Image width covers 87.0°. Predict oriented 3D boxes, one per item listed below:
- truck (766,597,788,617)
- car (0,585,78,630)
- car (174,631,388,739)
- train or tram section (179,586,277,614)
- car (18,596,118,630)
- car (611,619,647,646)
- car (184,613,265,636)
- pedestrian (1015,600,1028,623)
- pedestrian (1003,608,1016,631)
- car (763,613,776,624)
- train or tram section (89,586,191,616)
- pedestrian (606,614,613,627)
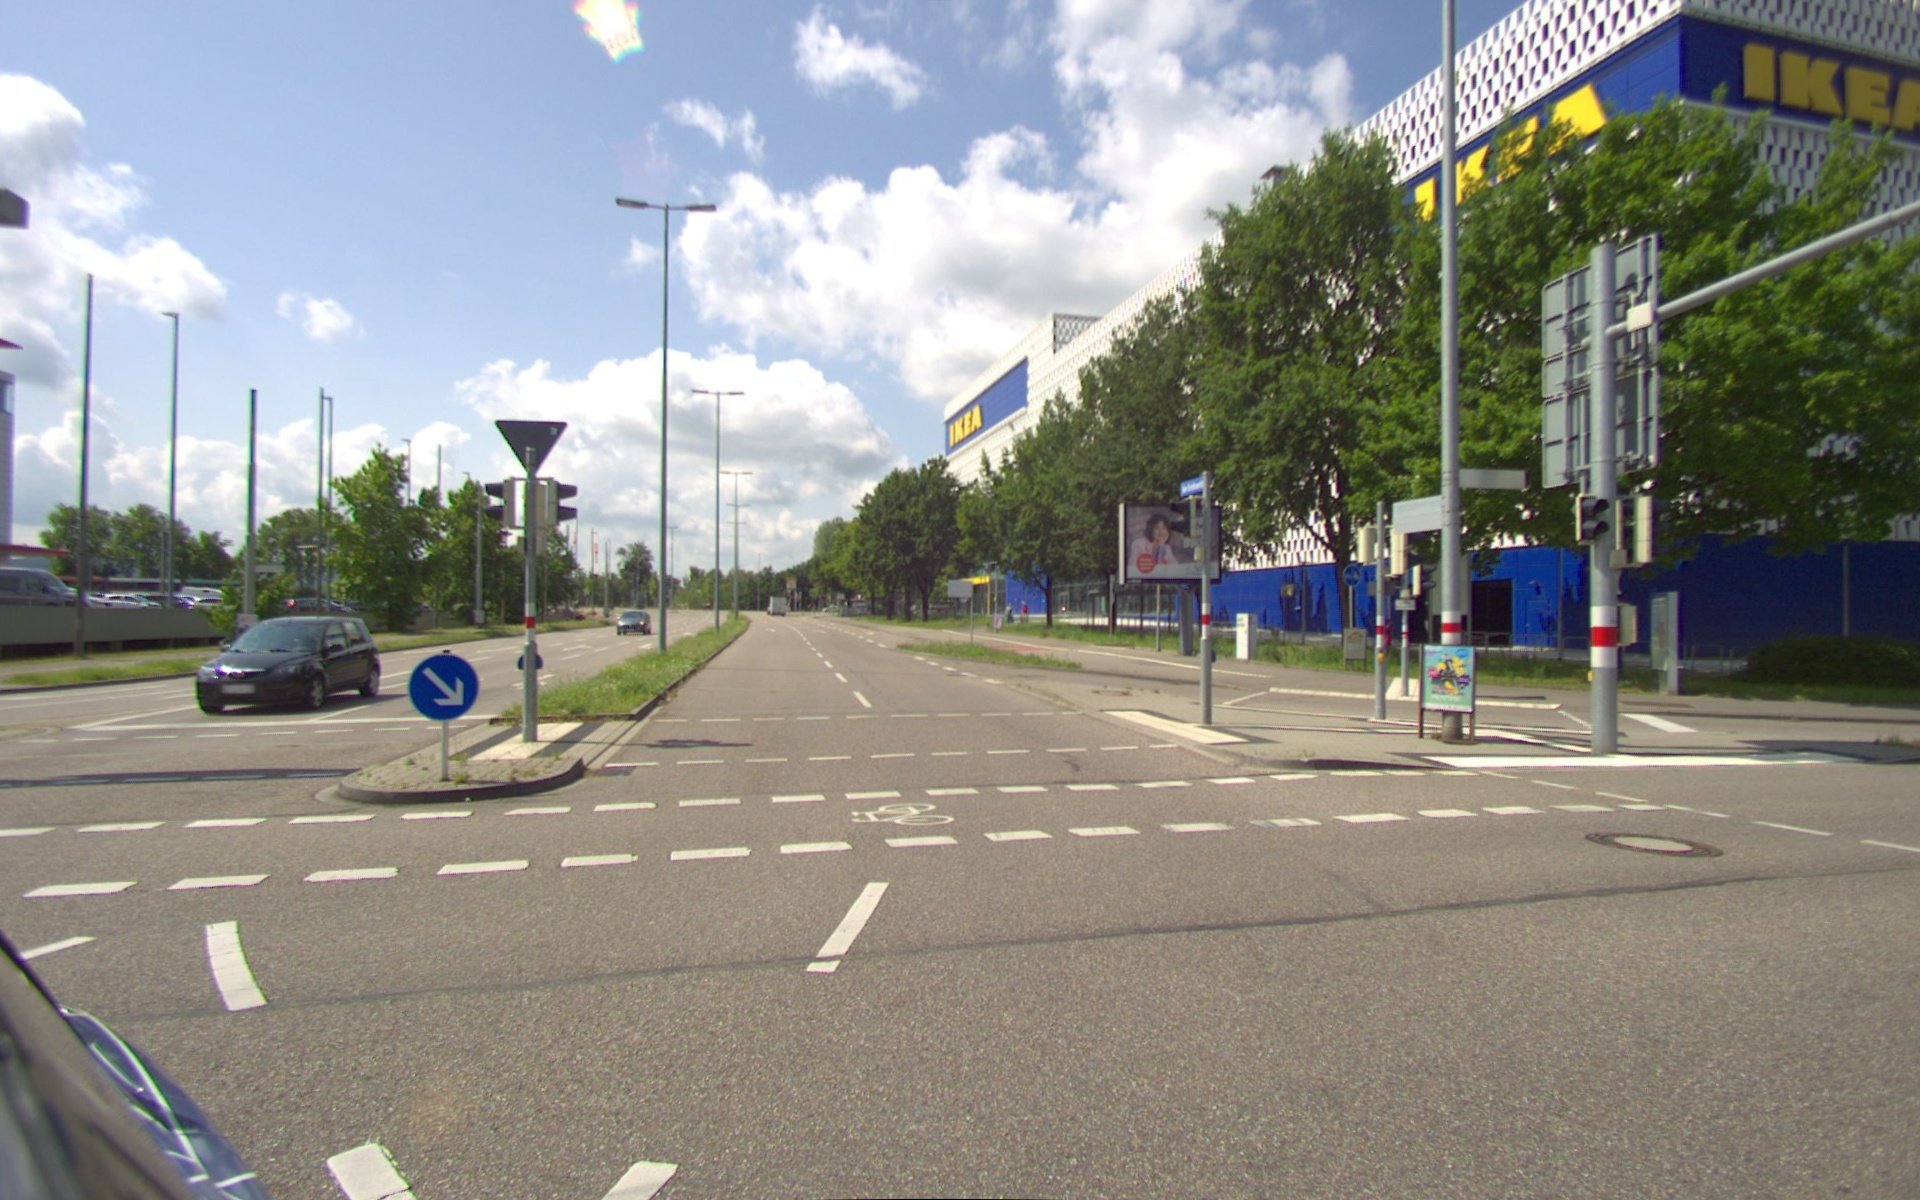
[{"bbox_3d":[-27.374,0.997,151.303,2.925,2.772,5.799,-1,0,-13],"label":"truck"},{"bbox_3d":[-50.578,0.409,53.575,5.702,2.300,1.754,-1,0,-13],"label":"car"},{"bbox_3d":[-11.599,1.360,17.647,1.581,1.541,4.279,0,0,-11],"label":"car"},{"bbox_3d":[-123.502,-0.015,170.924,12.888,4.404,3.742,1,0,-12],"label":"train or tram section"},{"bbox_3d":[-50.950,0.743,57.849,3.936,1.807,1.753,-1,0,-9],"label":"car"},{"bbox_3d":[-19.906,1.941,61.003,1.581,1.541,4.279,0,-1,-11],"label":"car"},{"bbox_3d":[-53.789,1.791,74.086,4.351,1.617,1.959,-1,0,-11],"label":"car"},{"bbox_3d":[4.911,0.918,80.915,0.841,1.741,1.167,-1,0,-8],"label":"pedestrian"},{"bbox_3d":[3.958,1.546,80.891,0.841,1.741,1.167,-1,0,-8],"label":"pedestrian"},{"bbox_3d":[-29.984,2.919,159.474,1.911,1.696,4.009,-1,0,-10],"label":"car"},{"bbox_3d":[-136.070,0.196,168.146,12.889,4.595,3.742,-1,0,-12],"label":"train or tram section"},{"bbox_3d":[-52.971,3.096,153.024,0.544,1.827,0.696,-1,0,36],"label":"pedestrian"}]
